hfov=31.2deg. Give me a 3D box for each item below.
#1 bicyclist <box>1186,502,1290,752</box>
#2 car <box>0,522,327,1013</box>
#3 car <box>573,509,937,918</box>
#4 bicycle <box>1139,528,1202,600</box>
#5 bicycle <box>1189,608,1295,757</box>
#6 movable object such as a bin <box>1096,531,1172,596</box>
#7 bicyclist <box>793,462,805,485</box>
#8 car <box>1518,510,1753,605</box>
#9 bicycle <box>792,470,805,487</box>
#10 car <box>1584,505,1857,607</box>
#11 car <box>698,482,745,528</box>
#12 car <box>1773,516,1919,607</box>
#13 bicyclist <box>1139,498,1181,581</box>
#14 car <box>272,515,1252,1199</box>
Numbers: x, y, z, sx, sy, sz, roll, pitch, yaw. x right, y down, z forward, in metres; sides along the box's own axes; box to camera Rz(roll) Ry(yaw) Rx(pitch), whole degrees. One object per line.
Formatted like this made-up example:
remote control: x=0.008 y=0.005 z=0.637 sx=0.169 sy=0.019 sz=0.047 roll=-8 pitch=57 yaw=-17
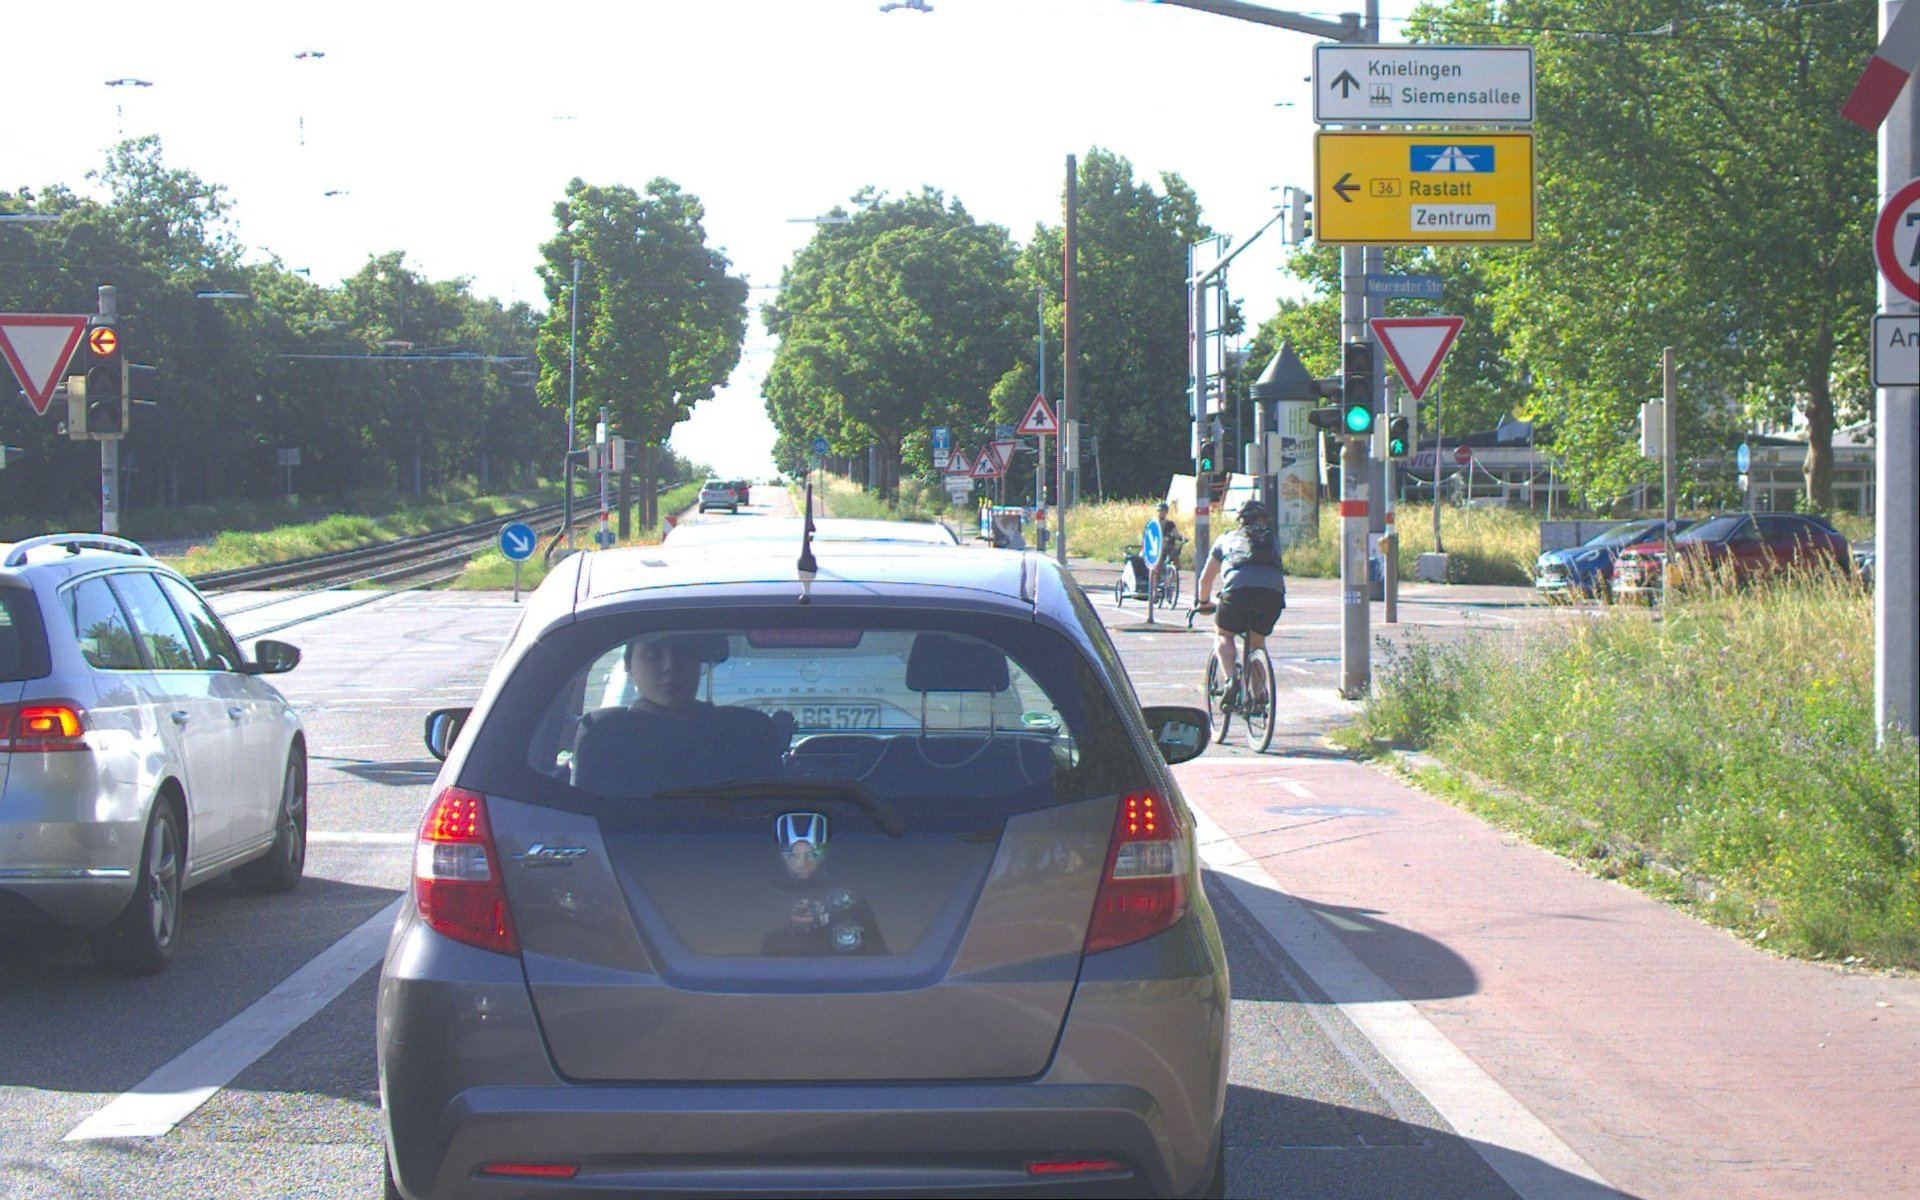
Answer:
bicyclist: x=1.889 y=0.172 z=23.481 sx=0.615 sy=1.673 sz=0.933 roll=0 pitch=1 yaw=-1
car: x=-3.649 y=0.478 z=12.870 sx=1.877 sy=1.522 sz=4.421 roll=0 pitch=1 yaw=-2
car: x=-0.825 y=0.391 z=14.462 sx=1.351 sy=1.522 sz=3.124 roll=0 pitch=1 yaw=-2
bicycle: x=3.365 y=-0.589 z=55.145 sx=0.466 sy=1.115 sz=1.821 roll=0 pitch=2 yaw=-15
bicycle: x=1.912 y=0.542 z=23.503 sx=0.524 sy=0.920 sz=2.089 roll=0 pitch=1 yaw=-1
movable object such as a bin: x=2.903 y=-0.622 z=57.359 sx=0.908 sy=1.065 sz=1.317 roll=0 pitch=1 yaw=-14
bicyclist: x=-11.042 y=-8.693 z=235.755 sx=0.817 sy=1.519 sz=0.966 roll=1 pitch=0 yaw=-2
car: x=11.837 y=-0.764 z=60.209 sx=3.847 sy=1.595 sz=1.713 roll=-1 pitch=1 yaw=-29
bicycle: x=-11.055 y=-8.331 z=235.740 sx=0.817 sy=1.044 sz=2.506 roll=1 pitch=1 yaw=-2
car: x=12.386 y=-0.730 z=55.985 sx=4.076 sy=1.595 sz=1.817 roll=-1 pitch=1 yaw=-25
car: x=-10.957 y=-4.368 z=157.879 sx=1.993 sy=2.007 sz=4.000 roll=1 pitch=1 yaw=-2
car: x=16.869 y=-0.719 z=62.671 sx=3.847 sy=1.595 sz=1.713 roll=-1 pitch=1 yaw=-29
bicyclist: x=3.244 y=-0.976 z=55.749 sx=0.509 sy=1.336 sz=0.565 roll=-1 pitch=1 yaw=-16
car: x=-0.356 y=0.574 z=7.739 sx=1.670 sy=1.510 sz=3.674 roll=0 pitch=1 yaw=-1
